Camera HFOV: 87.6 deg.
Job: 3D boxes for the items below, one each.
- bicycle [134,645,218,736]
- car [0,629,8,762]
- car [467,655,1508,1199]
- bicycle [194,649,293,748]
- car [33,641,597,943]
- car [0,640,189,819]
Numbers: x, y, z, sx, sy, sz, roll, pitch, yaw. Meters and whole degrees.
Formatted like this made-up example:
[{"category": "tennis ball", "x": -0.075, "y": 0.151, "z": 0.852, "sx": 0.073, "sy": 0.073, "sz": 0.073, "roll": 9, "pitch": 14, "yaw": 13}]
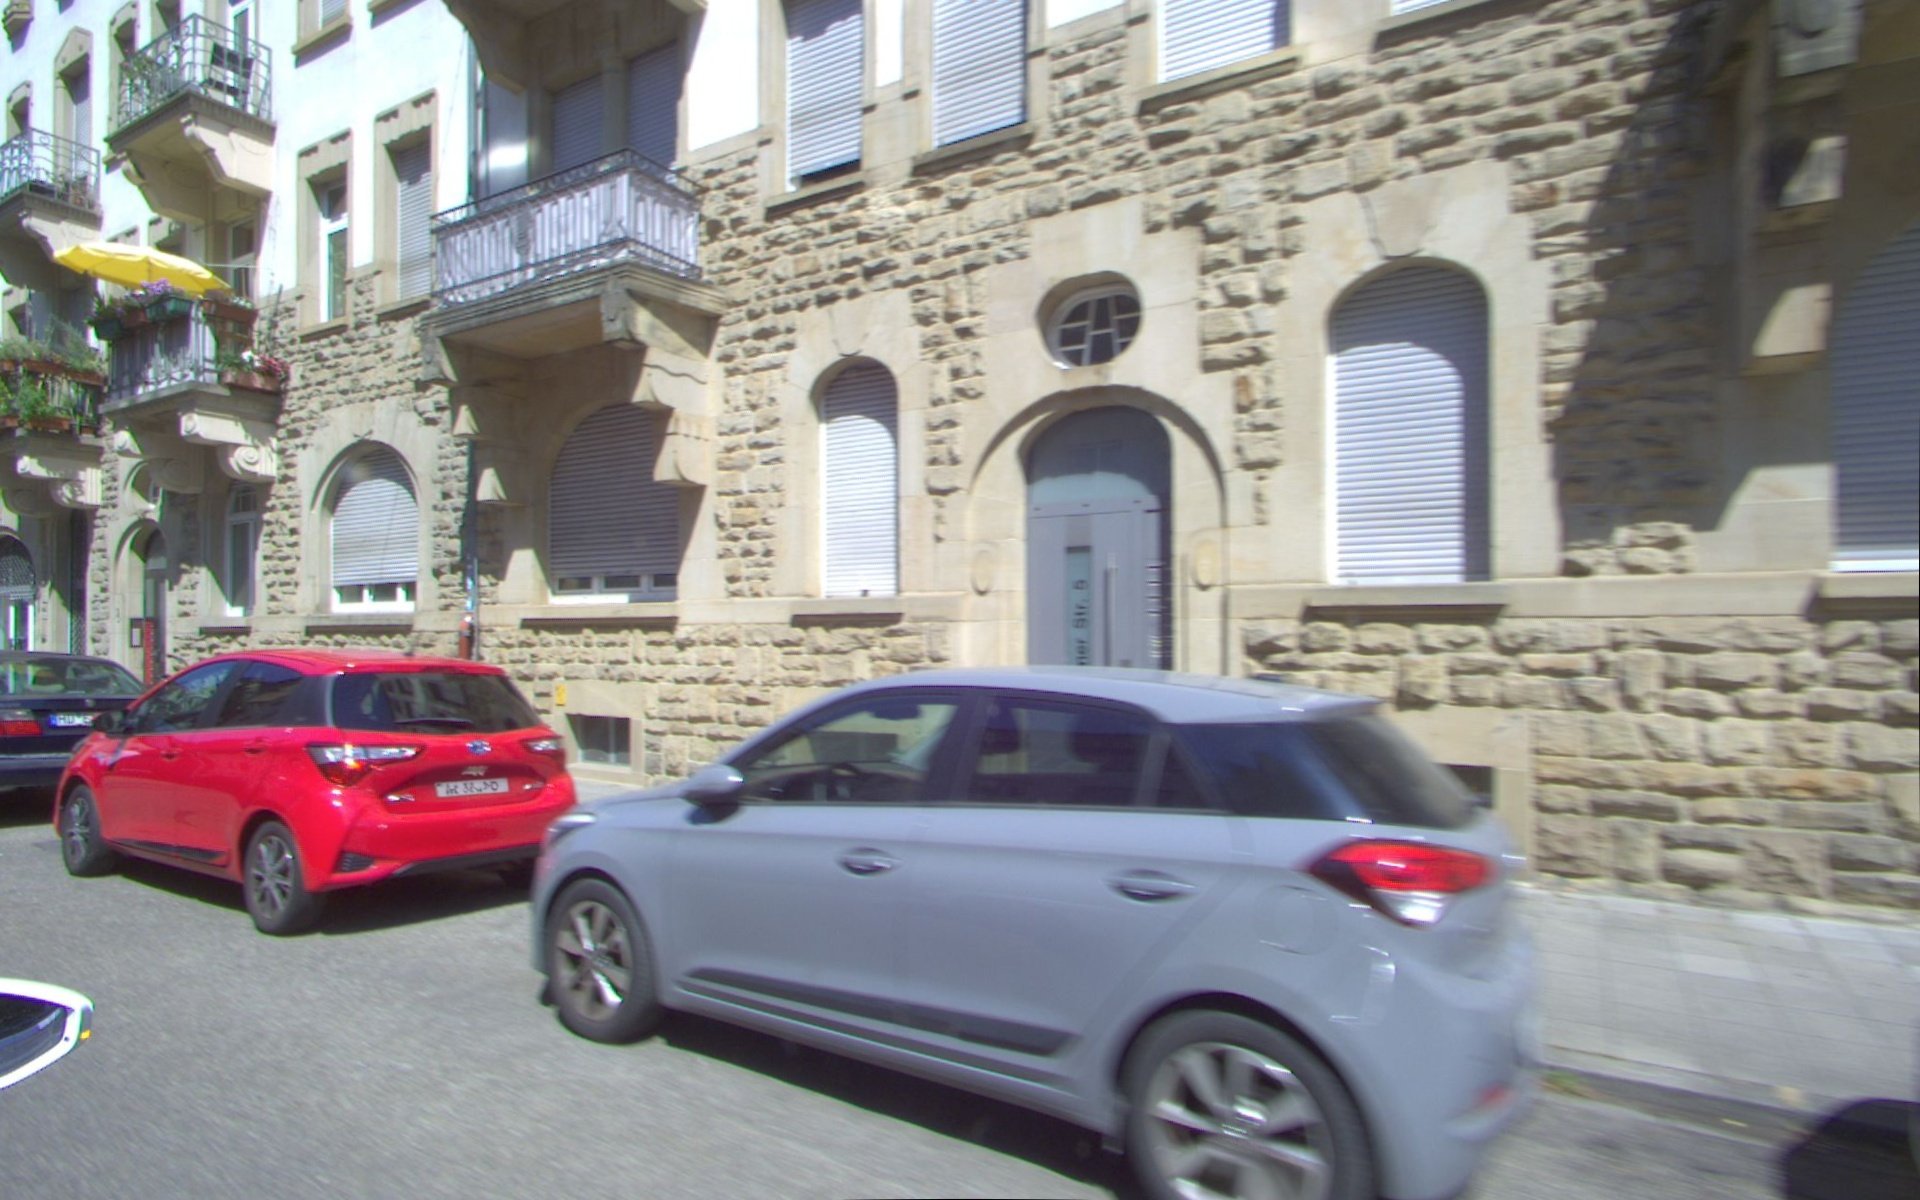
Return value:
[{"category": "bicycle", "x": -11.126, "y": 1.256, "z": 14.196, "sx": 1.750, "sy": 1.223, "sz": 0.383, "roll": -2, "pitch": -1, "yaw": 32}, {"category": "car", "x": -13.859, "y": 1.133, "z": 12.324, "sx": 4.536, "sy": 1.586, "sz": 1.832, "roll": -1, "pitch": -4, "yaw": 30}, {"category": "car", "x": -0.068, "y": 0.973, "z": 3.931, "sx": 3.802, "sy": 1.470, "sz": 1.588, "roll": -2, "pitch": -4, "yaw": 33}, {"category": "bicycle", "x": -9.388, "y": 1.258, "z": 13.099, "sx": 1.750, "sy": 1.223, "sz": 0.440, "roll": -2, "pitch": -1, "yaw": 32}, {"category": "car", "x": -4.308, "y": 1.035, "z": 6.566, "sx": 3.787, "sy": 1.470, "sz": 1.569, "roll": -2, "pitch": -4, "yaw": 31}, {"category": "car", "x": -9.113, "y": 1.123, "z": 9.372, "sx": 3.912, "sy": 1.415, "sz": 1.513, "roll": -1, "pitch": -6, "yaw": 29}]
